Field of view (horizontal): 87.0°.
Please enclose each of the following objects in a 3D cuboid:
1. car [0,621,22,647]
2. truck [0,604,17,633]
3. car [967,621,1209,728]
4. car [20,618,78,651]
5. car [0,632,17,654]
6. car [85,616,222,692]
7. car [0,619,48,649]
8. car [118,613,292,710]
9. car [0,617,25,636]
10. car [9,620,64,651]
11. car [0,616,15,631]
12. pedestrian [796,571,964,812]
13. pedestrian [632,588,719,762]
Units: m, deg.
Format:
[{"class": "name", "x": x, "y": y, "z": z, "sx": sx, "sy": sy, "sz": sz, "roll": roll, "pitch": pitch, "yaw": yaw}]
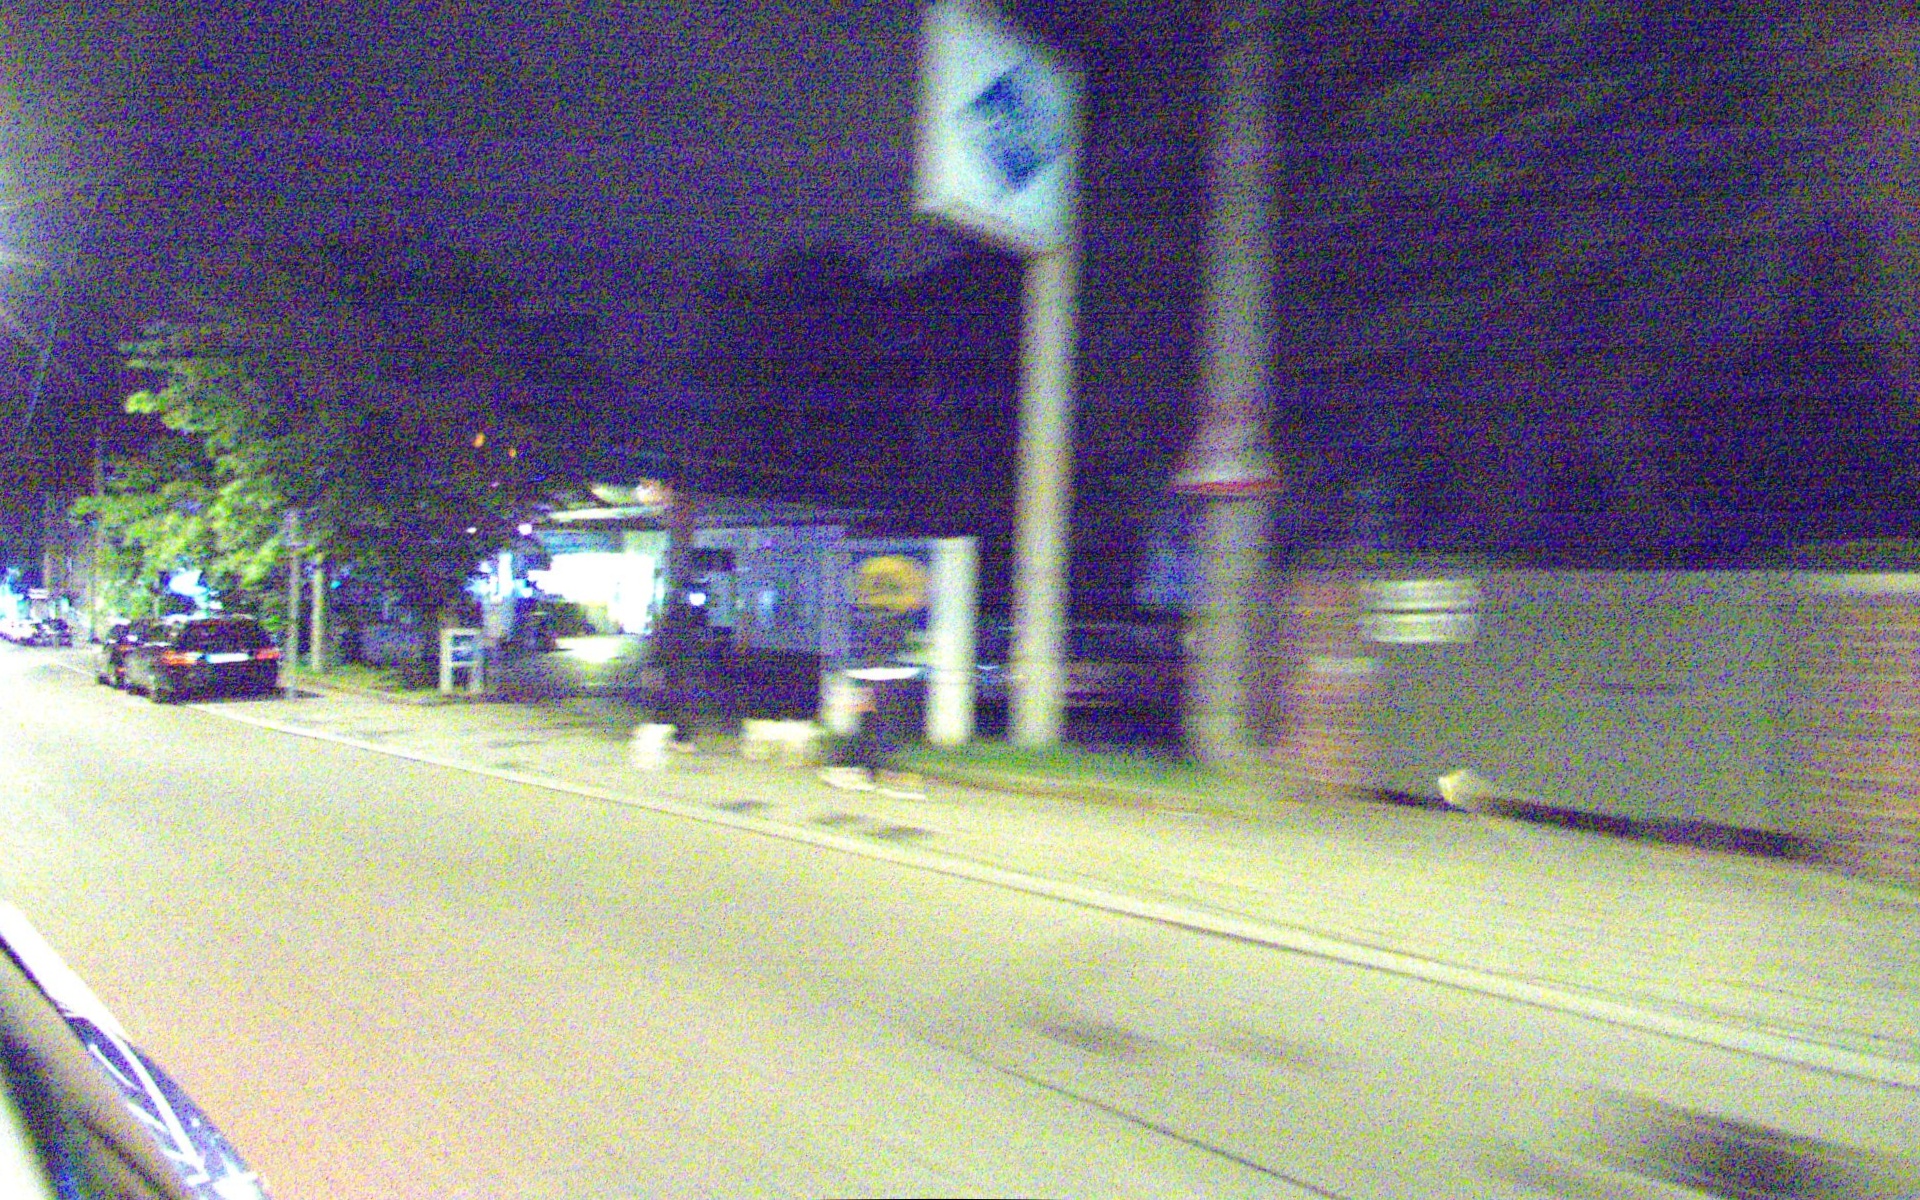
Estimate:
[{"class": "car", "x": -62.261, "y": 2.197, "z": 65.547, "sx": 3.998, "sy": 1.657, "sz": 1.849, "roll": -2, "pitch": -1, "yaw": 41}, {"class": "truck", "x": -87.035, "y": 1.727, "z": 91.796, "sx": 2.055, "sy": 2.596, "sz": 6.877, "roll": 0, "pitch": -2, "yaw": -45}, {"class": "car", "x": 1.962, "y": 1.137, "z": 16.036, "sx": 3.284, "sy": 1.548, "sz": 2.005, "roll": 1, "pitch": -2, "yaw": -14}, {"class": "car", "x": -47.890, "y": 1.809, "z": 53.189, "sx": 3.998, "sy": 1.657, "sz": 1.849, "roll": -2, "pitch": -1, "yaw": 41}, {"class": "car", "x": -70.849, "y": 3.185, "z": 74.627, "sx": 1.847, "sy": 1.572, "sz": 4.002, "roll": 0, "pitch": -2, "yaw": -45}, {"class": "car", "x": -17.947, "y": 1.141, "z": 22.469, "sx": 3.897, "sy": 1.477, "sz": 1.839, "roll": -2, "pitch": 0, "yaw": 43}, {"class": "car", "x": -55.883, "y": 2.009, "z": 60.272, "sx": 3.998, "sy": 1.657, "sz": 1.849, "roll": -2, "pitch": -1, "yaw": 41}, {"class": "car", "x": -14.201, "y": 1.068, "z": 18.925, "sx": 4.588, "sy": 1.544, "sz": 1.839, "roll": -2, "pitch": 0, "yaw": 44}, {"class": "car", "x": -79.040, "y": 2.223, "z": 84.130, "sx": 1.847, "sy": 1.572, "sz": 4.355, "roll": 0, "pitch": -2, "yaw": -45}, {"class": "car", "x": -51.307, "y": 1.943, "z": 56.212, "sx": 3.998, "sy": 1.657, "sz": 1.849, "roll": -2, "pitch": -1, "yaw": 41}, {"class": "car", "x": -102.744, "y": 2.569, "z": 108.613, "sx": 1.847, "sy": 1.572, "sz": 4.355, "roll": 0, "pitch": -2, "yaw": -45}, {"class": "pedestrian", "x": -0.622, "y": 0.648, "z": 7.748, "sx": 1.103, "sy": 1.684, "sz": 0.734, "roll": -1, "pitch": -1, "yaw": 44}, {"class": "pedestrian", "x": -3.020, "y": 0.764, "z": 10.707, "sx": 0.659, "sy": 1.739, "sz": 0.869, "roll": 0, "pitch": -2, "yaw": -33}]
